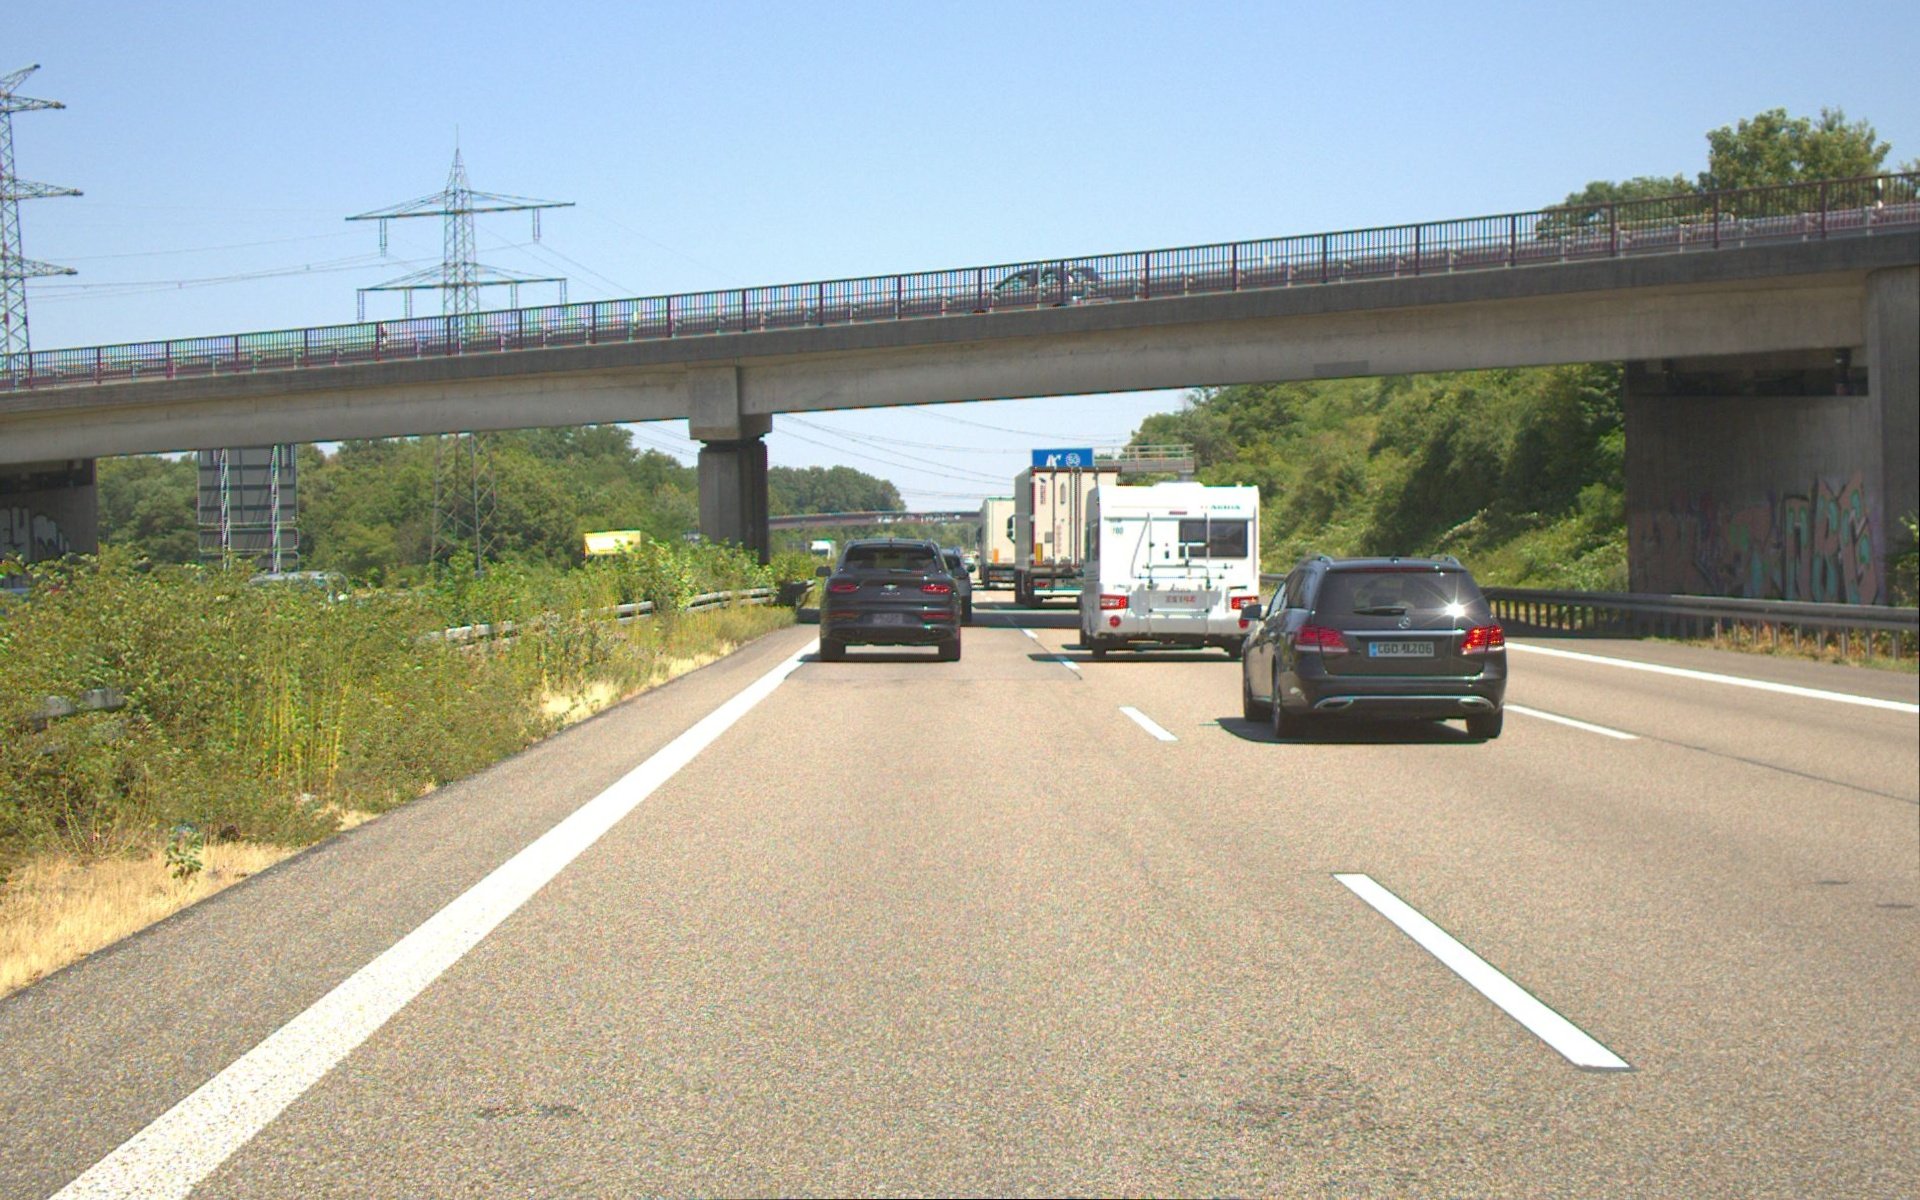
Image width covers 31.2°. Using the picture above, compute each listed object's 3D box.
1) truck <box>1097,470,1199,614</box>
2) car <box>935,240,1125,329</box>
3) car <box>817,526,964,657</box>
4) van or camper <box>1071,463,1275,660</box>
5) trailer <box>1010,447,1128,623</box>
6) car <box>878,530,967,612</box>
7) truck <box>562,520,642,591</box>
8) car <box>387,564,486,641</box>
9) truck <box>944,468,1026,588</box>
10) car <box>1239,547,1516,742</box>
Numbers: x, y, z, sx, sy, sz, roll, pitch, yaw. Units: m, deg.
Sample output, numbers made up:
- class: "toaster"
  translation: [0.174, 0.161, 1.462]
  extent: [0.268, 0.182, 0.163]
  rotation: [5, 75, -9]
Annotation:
- class: "truck"
  translation: [6.593, -2.007, 121.676]
  extent: [3.087, 4.868, 8.798]
  rotation: [1, 0, 0]
- class: "car"
  translation: [1.640, -7.422, 81.122]
  extent: [3.994, 1.645, 1.996]
  rotation: [-2, -1, 32]
- class: "car"
  translation: [-0.993, -0.150, 49.235]
  extent: [1.993, 1.766, 4.000]
  rotation: [-1, 1, -1]
- class: "van or camper"
  translation: [3.020, -0.580, 50.230]
  extent: [2.439, 2.665, 6.350]
  rotation: [-1, 1, -1]
- class: "trailer"
  translation: [3.137, -1.854, 102.226]
  extent: [3.087, 4.868, 12.258]
  rotation: [1, 0, 0]
- class: "car"
  translation: [-0.887, -0.699, 79.516]
  extent: [1.961, 1.808, 4.449]
  rotation: [-1, 1, -1]
- class: "truck"
  translation: [-19.777, -2.459, 190.337]
  extent: [3.512, 3.849, 8.662]
  rotation: [0, 1, 0]
- class: "car"
  translation: [-14.721, 0.055, 96.817]
  extent: [1.993, 2.007, 4.842]
  rotation: [-3, 0, 0]
- class: "truck"
  translation: [1.084, -3.147, 152.732]
  extent: [3.512, 5.149, 10.259]
  rotation: [0, 1, 0]
- class: "car"
  translation: [3.443, 0.307, 29.128]
  extent: [1.841, 1.500, 4.738]
  rotation: [0, 1, 1]
